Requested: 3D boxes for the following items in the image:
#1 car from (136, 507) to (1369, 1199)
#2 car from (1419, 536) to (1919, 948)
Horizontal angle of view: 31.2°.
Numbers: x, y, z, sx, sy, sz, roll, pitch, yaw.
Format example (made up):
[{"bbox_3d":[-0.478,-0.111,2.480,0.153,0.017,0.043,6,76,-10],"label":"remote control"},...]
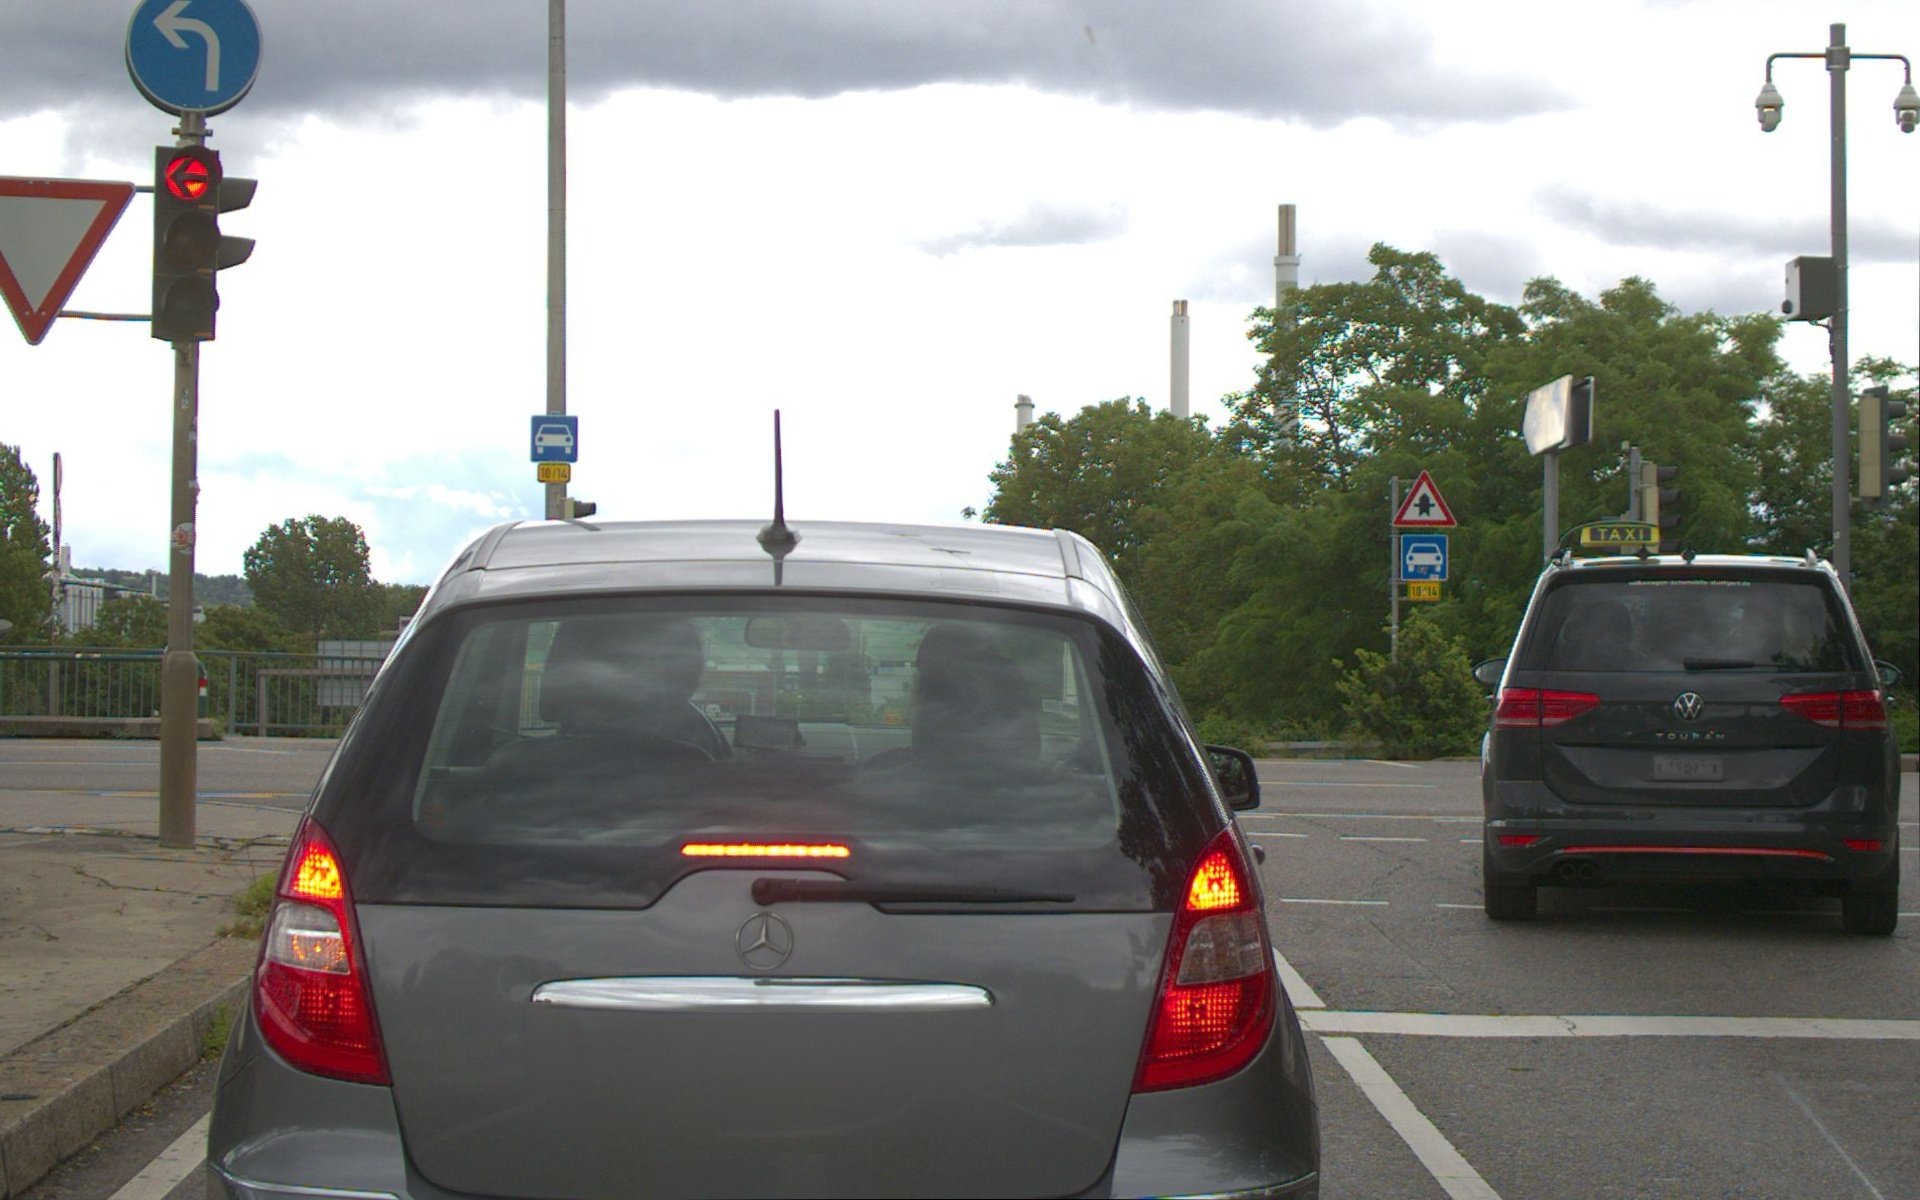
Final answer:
[{"bbox_3d":[-0.313,0.630,6.661,1.739,1.538,3.541,1,1,0],"label":"car"},{"bbox_3d":[3.218,0.557,16.040,1.796,1.647,4.150,1,1,3],"label":"car"}]
